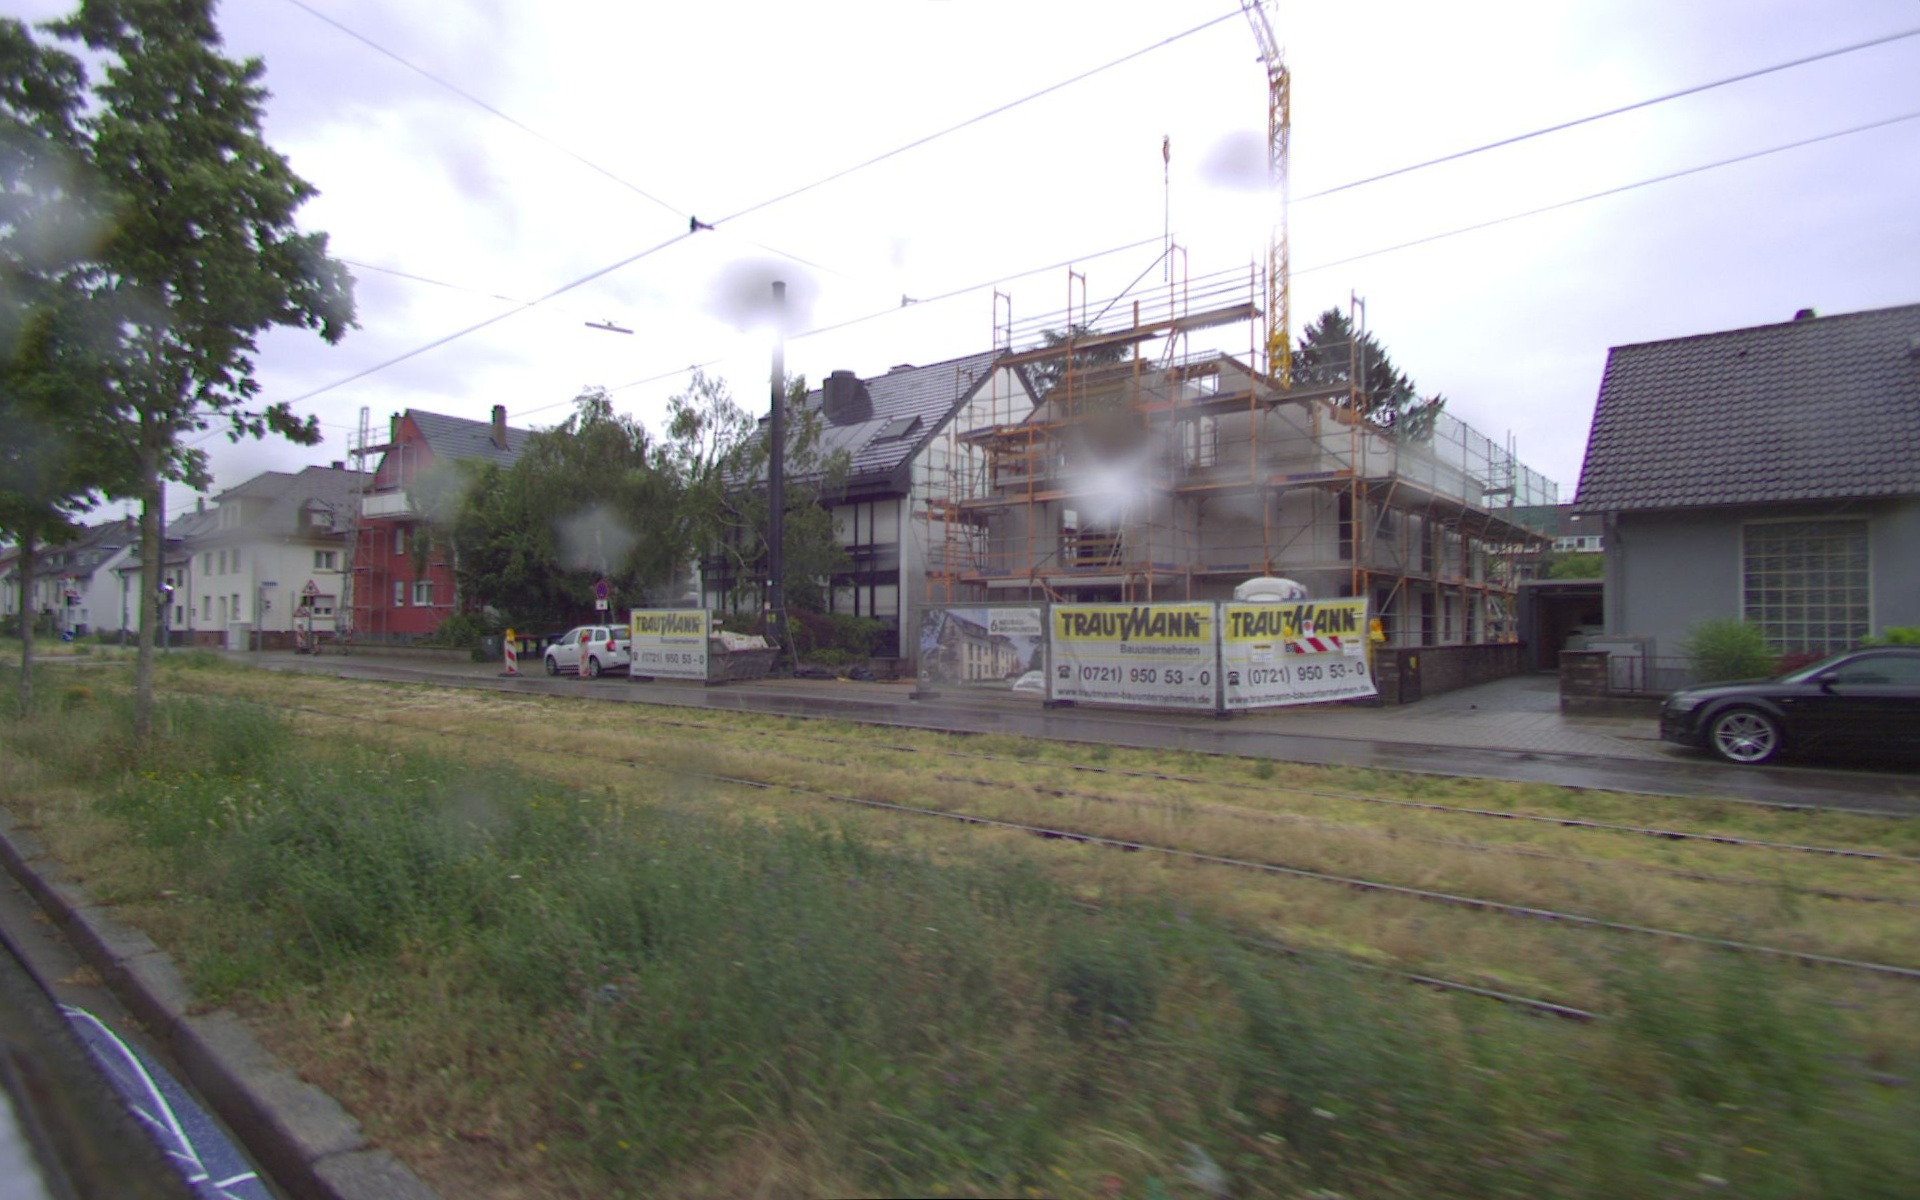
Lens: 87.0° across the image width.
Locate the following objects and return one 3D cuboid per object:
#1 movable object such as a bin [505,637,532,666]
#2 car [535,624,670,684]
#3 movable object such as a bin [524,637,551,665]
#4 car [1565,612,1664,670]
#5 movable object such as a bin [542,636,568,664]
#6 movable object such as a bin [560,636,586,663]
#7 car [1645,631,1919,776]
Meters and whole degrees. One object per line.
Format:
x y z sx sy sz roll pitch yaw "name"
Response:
-18.751 2.186 42.992 0.821 1.156 0.802 -1 -1 41 "movable object such as a bin"
-10.987 1.597 30.986 4.246 1.640 1.974 -1 -1 39 "car"
-18.217 2.188 43.604 0.821 1.156 0.802 -1 -1 41 "movable object such as a bin"
18.399 1.087 28.375 1.794 1.497 3.945 -1 -1 41 "car"
-17.694 2.190 44.232 0.821 1.156 0.802 -1 -1 41 "movable object such as a bin"
-17.178 2.193 44.890 0.821 1.156 0.802 -1 -1 41 "movable object such as a bin"
10.197 1.081 11.153 4.171 1.420 1.973 -3 -2 40 "car"
